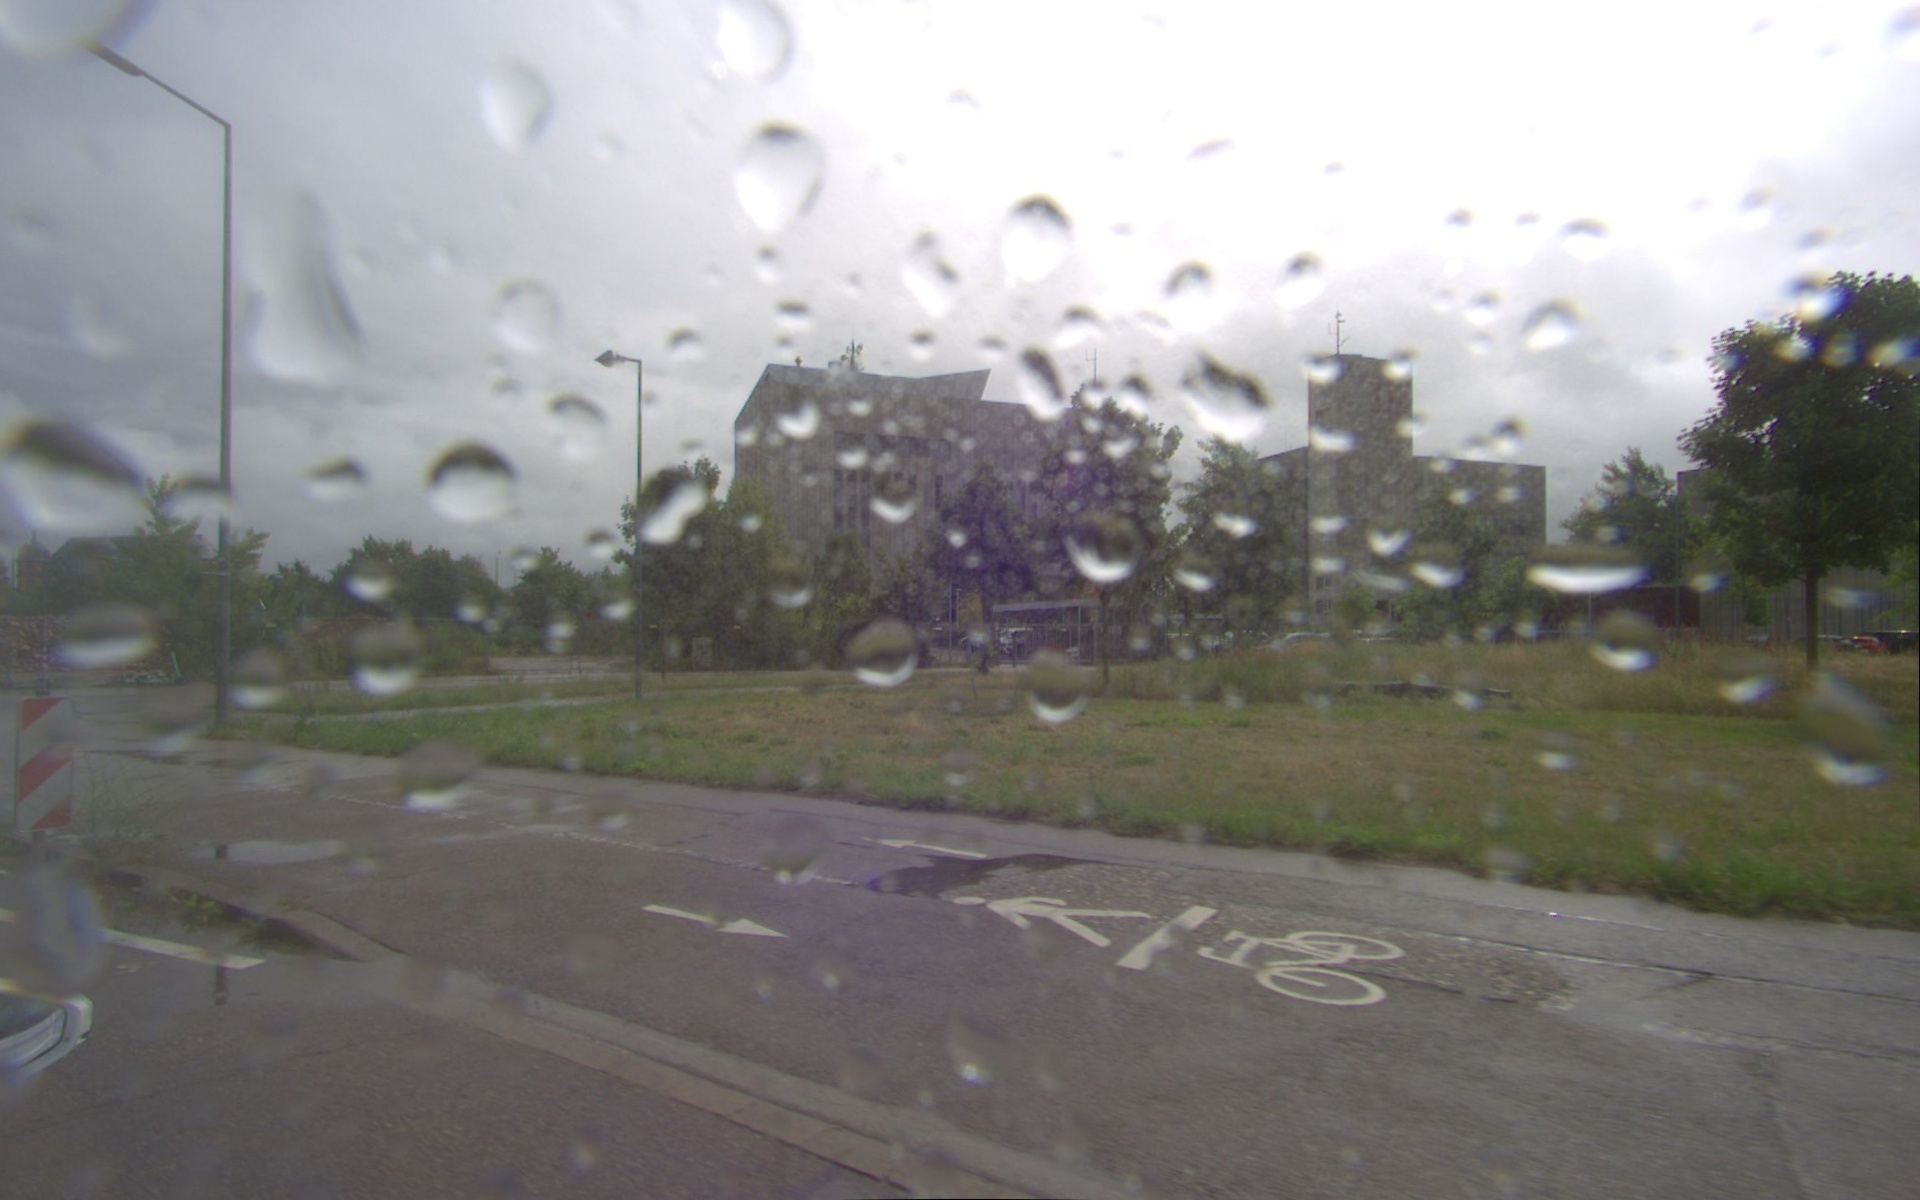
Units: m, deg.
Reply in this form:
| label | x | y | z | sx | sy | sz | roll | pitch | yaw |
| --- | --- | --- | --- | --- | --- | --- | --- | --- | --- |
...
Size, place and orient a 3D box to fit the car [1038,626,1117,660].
| label | x | y | z | sx | sy | sz | roll | pitch | yaw |
| --- | --- | --- | --- | --- | --- | --- | --- | --- | --- |
| car | 6.791 | 2.498 | 57.891 | 4.097 | 1.742 | 1.817 | 4 | -3 | -17 |

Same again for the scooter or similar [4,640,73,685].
| label | x | y | z | sx | sy | sz | roll | pitch | yaw |
| --- | --- | --- | --- | --- | --- | --- | --- | --- | --- |
| scooter or similar | -25.957 | 1.754 | 28.217 | 1.263 | 1.202 | 0.502 | 4 | -2 | -21 |

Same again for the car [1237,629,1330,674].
| label | x | y | z | sx | sy | sz | roll | pitch | yaw |
| --- | --- | --- | --- | --- | --- | --- | --- | --- | --- |
| car | 15.137 | 2.418 | 47.005 | 3.639 | 2.039 | 2.000 | 0 | -2 | -10 |

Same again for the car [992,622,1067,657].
| label | x | y | z | sx | sy | sz | roll | pitch | yaw |
| --- | --- | --- | --- | --- | --- | --- | --- | --- | --- |
| car | 4.411 | 2.536 | 63.935 | 4.311 | 1.981 | 1.998 | 4 | -3 | -16 |

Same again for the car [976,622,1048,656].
| label | x | y | z | sx | sy | sz | roll | pitch | yaw |
| --- | --- | --- | --- | --- | --- | --- | --- | --- | --- |
| car | 3.459 | 2.610 | 66.595 | 4.311 | 1.996 | 1.998 | 4 | -3 | -16 |

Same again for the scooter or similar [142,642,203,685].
| label | x | y | z | sx | sy | sz | roll | pitch | yaw |
| --- | --- | --- | --- | --- | --- | --- | --- | --- | --- |
| scooter or similar | -23.616 | 1.908 | 30.039 | 1.263 | 1.202 | 0.502 | 4 | -2 | -21 |

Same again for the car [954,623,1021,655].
| label | x | y | z | sx | sy | sz | roll | pitch | yaw |
| --- | --- | --- | --- | --- | --- | --- | --- | --- | --- |
| car | 1.961 | 2.802 | 71.551 | 4.311 | 2.003 | 1.998 | 4 | -3 | -16 |

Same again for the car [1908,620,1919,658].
| label | x | y | z | sx | sy | sz | roll | pitch | yaw |
| --- | --- | --- | --- | --- | --- | --- | --- | --- | --- |
| car | 46.958 | 1.829 | 47.078 | 3.930 | 1.795 | 1.804 | 0 | -1 | -18 |

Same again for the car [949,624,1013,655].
| label | x | y | z | sx | sy | sz | roll | pitch | yaw |
| --- | --- | --- | --- | --- | --- | --- | --- | --- | --- |
| car | 1.535 | 2.887 | 73.681 | 4.311 | 2.003 | 1.998 | 4 | -3 | -16 |

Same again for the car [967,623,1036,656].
| label | x | y | z | sx | sy | sz | roll | pitch | yaw |
| --- | --- | --- | --- | --- | --- | --- | --- | --- | --- |
| car | 2.853 | 2.732 | 69.222 | 4.311 | 2.003 | 1.998 | 4 | -3 | -16 |
